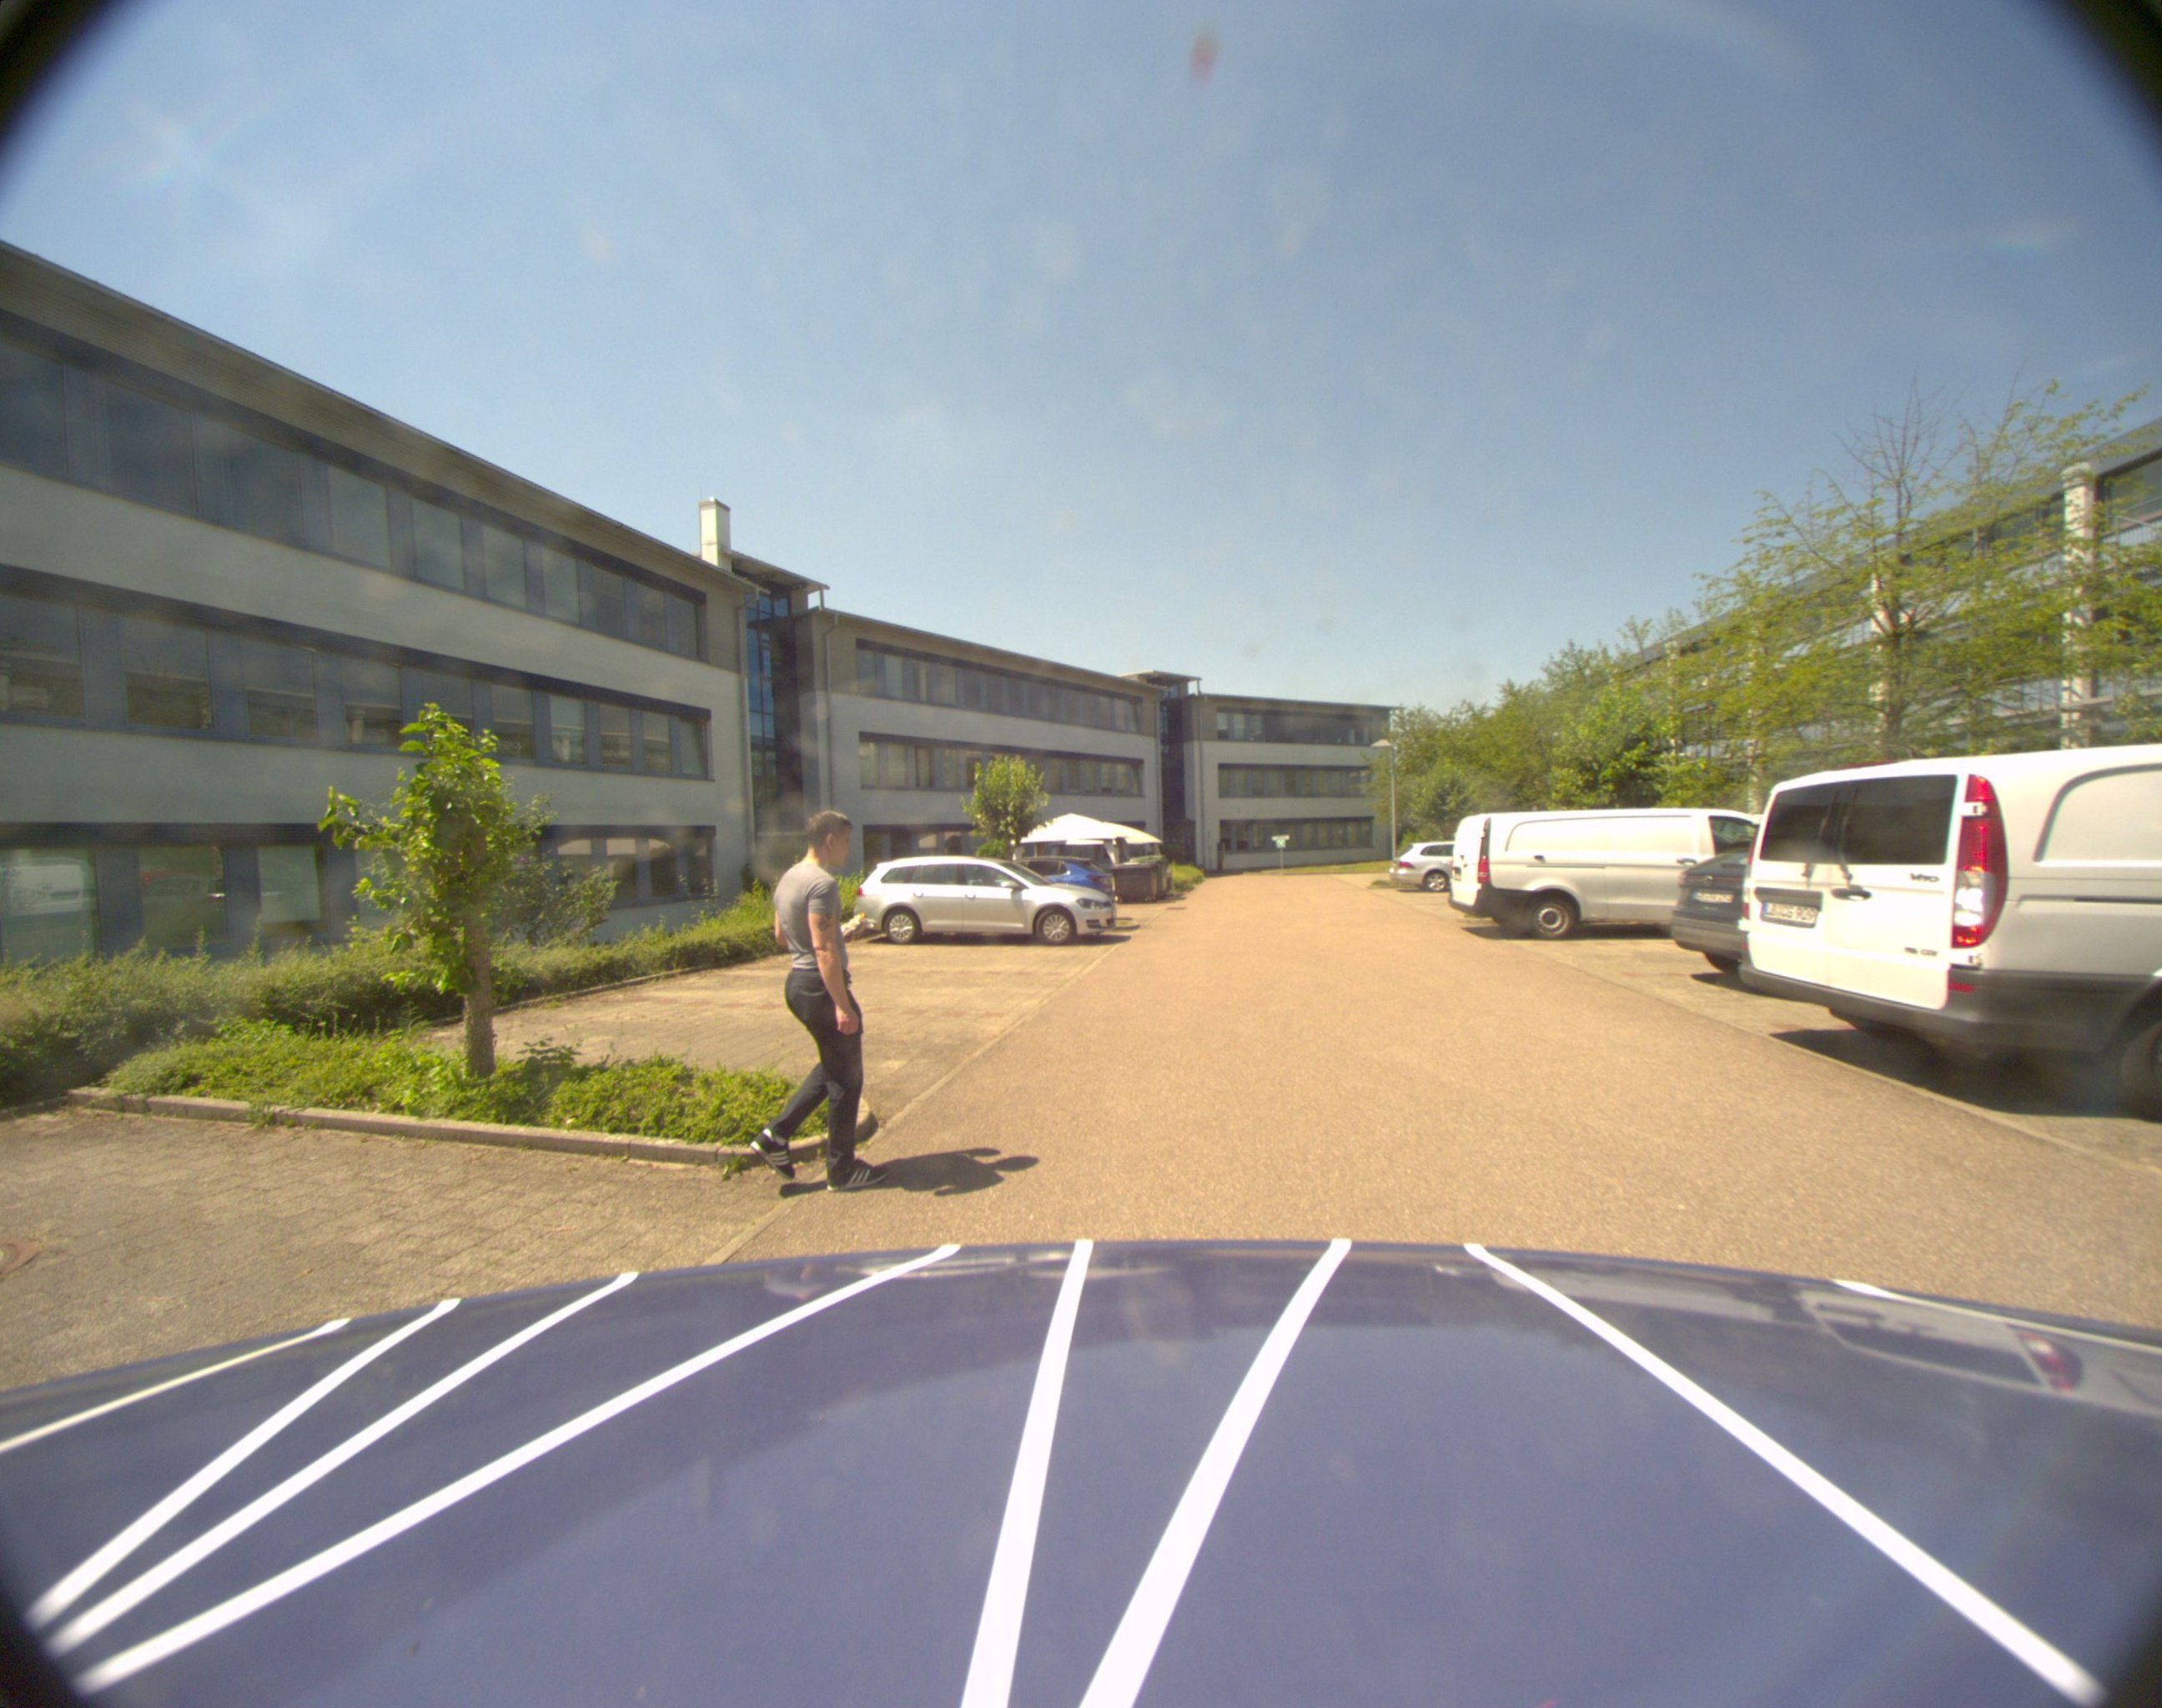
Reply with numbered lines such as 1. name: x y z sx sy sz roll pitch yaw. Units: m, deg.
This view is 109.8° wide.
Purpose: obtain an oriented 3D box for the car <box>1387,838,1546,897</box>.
1. car: 11.021 0.380 21.954 3.759 1.549 1.662 -1 1 11

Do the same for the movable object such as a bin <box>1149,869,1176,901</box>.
1. movable object such as a bin: 2.538 0.946 23.583 0.690 0.944 0.723 -1 1 17

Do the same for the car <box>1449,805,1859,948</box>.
1. car: 8.168 0.338 11.299 4.513 1.871 1.830 -1 1 11

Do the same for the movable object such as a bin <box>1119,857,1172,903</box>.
1. movable object such as a bin: 1.949 0.770 22.776 1.362 1.288 1.044 -1 1 17

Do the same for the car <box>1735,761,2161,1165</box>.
1. car: 6.871 0.459 4.139 4.728 1.895 1.831 -1 1 11

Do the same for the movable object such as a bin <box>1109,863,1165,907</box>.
1. movable object such as a bin: 1.614 0.874 21.780 1.362 1.182 0.998 -1 1 17

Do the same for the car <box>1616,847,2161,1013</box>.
1. car: 7.804 0.678 7.475 3.845 1.385 1.578 -1 1 11

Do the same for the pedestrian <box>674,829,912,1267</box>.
1. pedestrian: -1.269 0.777 3.479 0.617 1.747 0.789 -1 1 15

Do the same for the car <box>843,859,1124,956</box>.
1. car: -1.614 0.862 13.299 4.513 1.488 1.830 0 1 11

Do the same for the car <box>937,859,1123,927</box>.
1. car: -1.070 0.812 16.847 3.821 1.384 1.653 0 1 11
